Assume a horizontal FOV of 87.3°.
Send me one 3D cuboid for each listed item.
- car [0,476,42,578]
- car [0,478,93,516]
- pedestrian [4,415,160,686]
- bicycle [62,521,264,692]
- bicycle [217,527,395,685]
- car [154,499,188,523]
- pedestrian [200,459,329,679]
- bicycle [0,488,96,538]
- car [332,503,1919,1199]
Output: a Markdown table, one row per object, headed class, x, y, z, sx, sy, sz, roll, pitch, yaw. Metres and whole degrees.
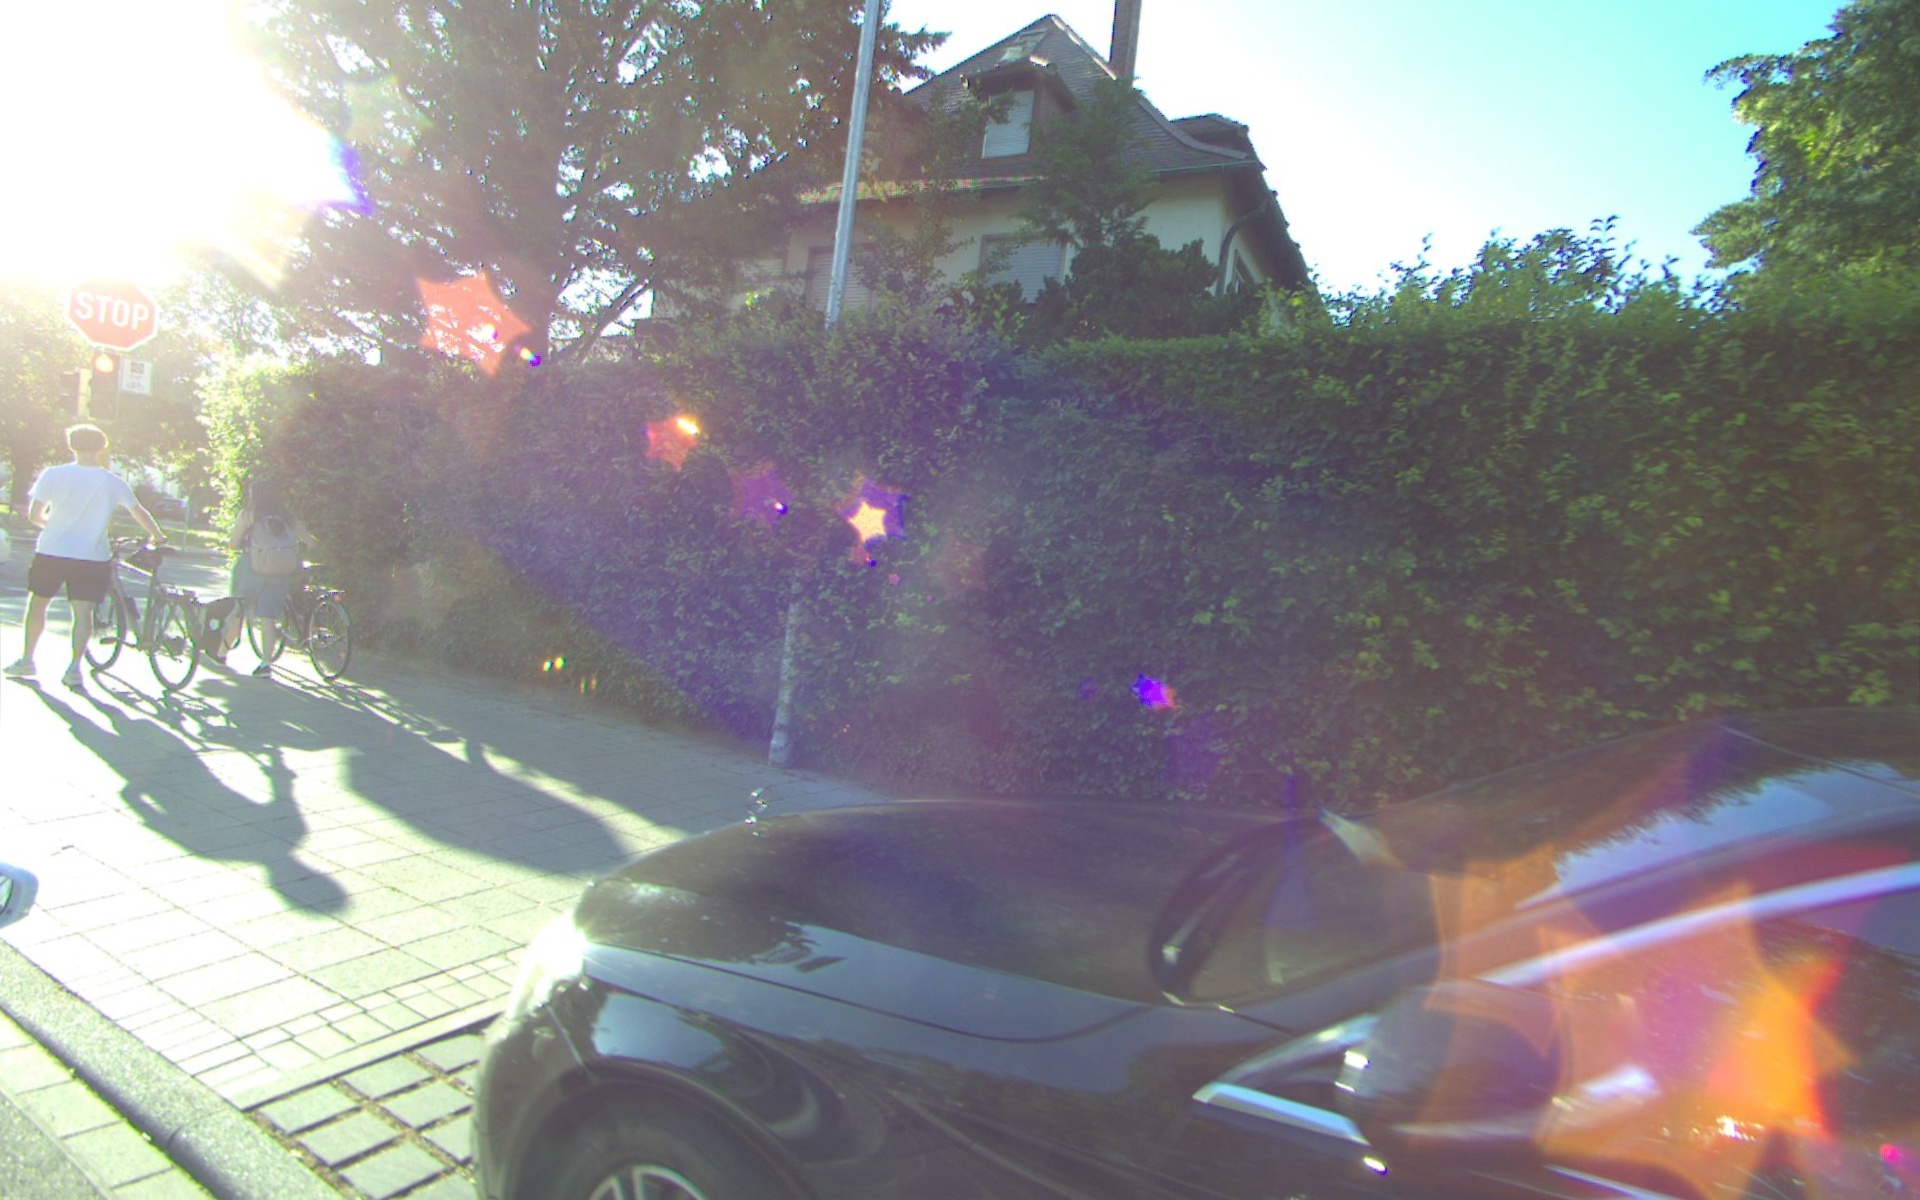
| class | x | y | z | sx | sy | sz | roll | pitch | yaw |
| --- | --- | --- | --- | --- | --- | --- | --- | --- | --- |
| car | -15.693 | -1.290 | 14.112 | 1.709 | 1.506 | 3.699 | 7 | -1 | 20 |
| car | -49.203 | -5.518 | 53.868 | 1.569 | 1.444 | 3.854 | 7 | 0 | 27 |
| pedestrian | -6.602 | -0.378 | 7.560 | 0.868 | 1.891 | 0.669 | 8 | 5 | 35 |
| bicycle | -6.266 | 0.023 | 7.885 | 1.759 | 1.112 | 0.487 | 7 | 4 | 26 |
| bicycle | -5.675 | 0.028 | 8.710 | 1.569 | 1.158 | 0.487 | 7 | 3 | 25 |
| car | -57.522 | -6.466 | 73.345 | 1.654 | 1.435 | 3.508 | 7 | 0 | -36 |
| pedestrian | -5.856 | -0.267 | 8.475 | 0.612 | 1.733 | 0.669 | 8 | 6 | 28 |
| bicycle | -26.456 | -2.511 | 29.181 | 0.610 | 1.146 | 1.955 | 7 | 0 | 33 |
| car | 1.415 | 0.915 | 1.472 | 4.790 | 1.561 | 1.862 | 7 | 0 | 30 |
